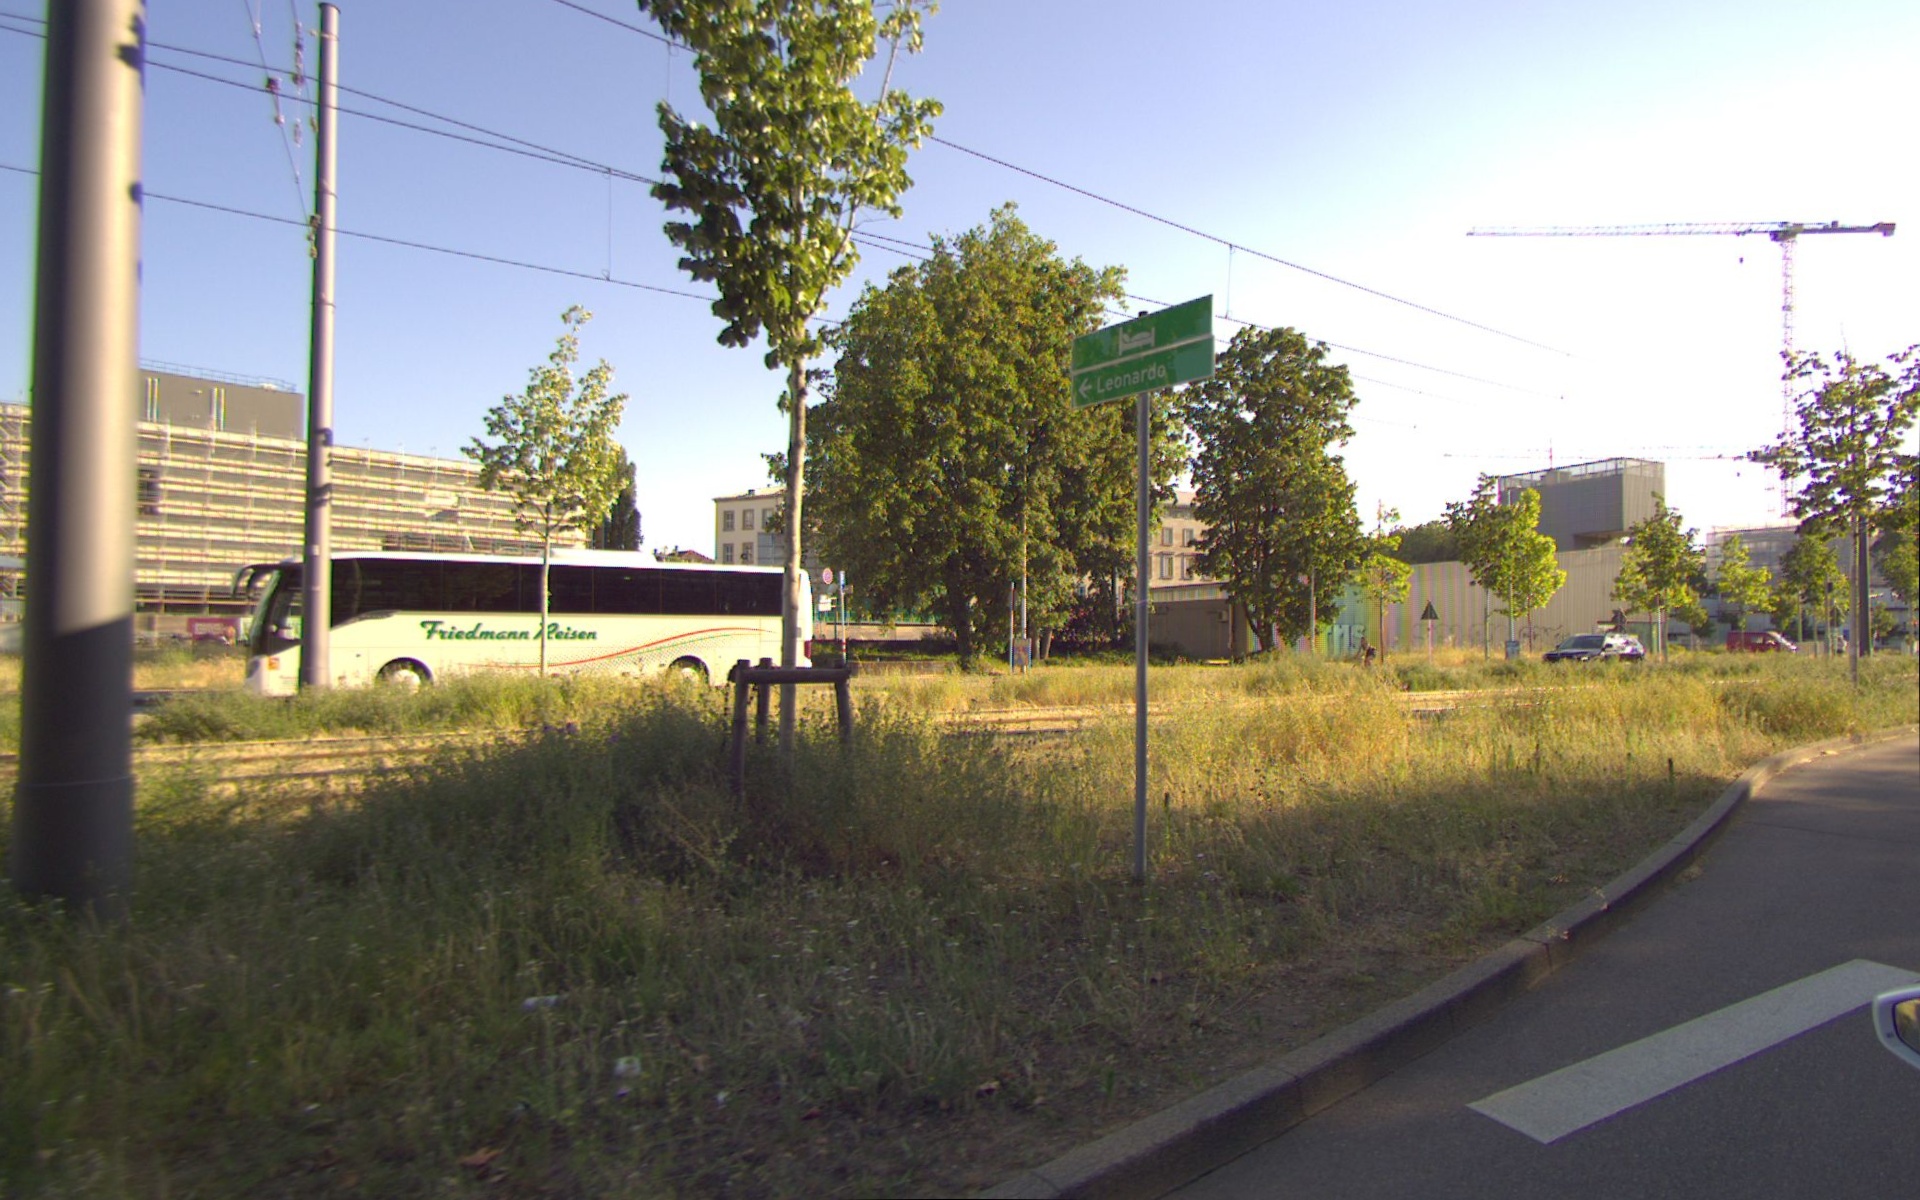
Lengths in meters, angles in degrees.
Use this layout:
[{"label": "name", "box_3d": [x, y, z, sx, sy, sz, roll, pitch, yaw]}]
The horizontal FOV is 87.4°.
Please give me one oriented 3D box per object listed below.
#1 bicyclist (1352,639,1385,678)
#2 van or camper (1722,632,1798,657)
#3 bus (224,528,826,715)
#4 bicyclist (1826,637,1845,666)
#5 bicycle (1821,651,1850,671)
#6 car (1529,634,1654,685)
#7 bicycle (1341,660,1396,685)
[{"label": "bicyclist", "box_3d": [14.591, 2.071, 35.887, 0.861, 1.364, 0.684, 1, -2, -30]}, {"label": "van or camper", "box_3d": [80.008, 4.421, 100.545, 2.126, 2.446, 5.643, 1, -2, -26]}, {"label": "bus", "box_3d": [-9.544, 0.594, 23.917, 12.550, 3.642, 2.786, 2, -2, -31]}, {"label": "bicyclist", "box_3d": [46.897, 2.738, 53.829, 0.659, 1.527, 0.554, 1, -2, -28]}, {"label": "bicycle", "box_3d": [46.924, 3.255, 53.842, 1.875, 1.074, 0.556, 1, -2, -28]}, {"label": "car", "box_3d": [23.293, 2.156, 37.004, 4.755, 1.789, 1.862, 1, -2, -30]}, {"label": "bicycle", "box_3d": [14.610, 2.586, 35.920, 2.120, 0.815, 0.684, 1, -2, -30]}]
